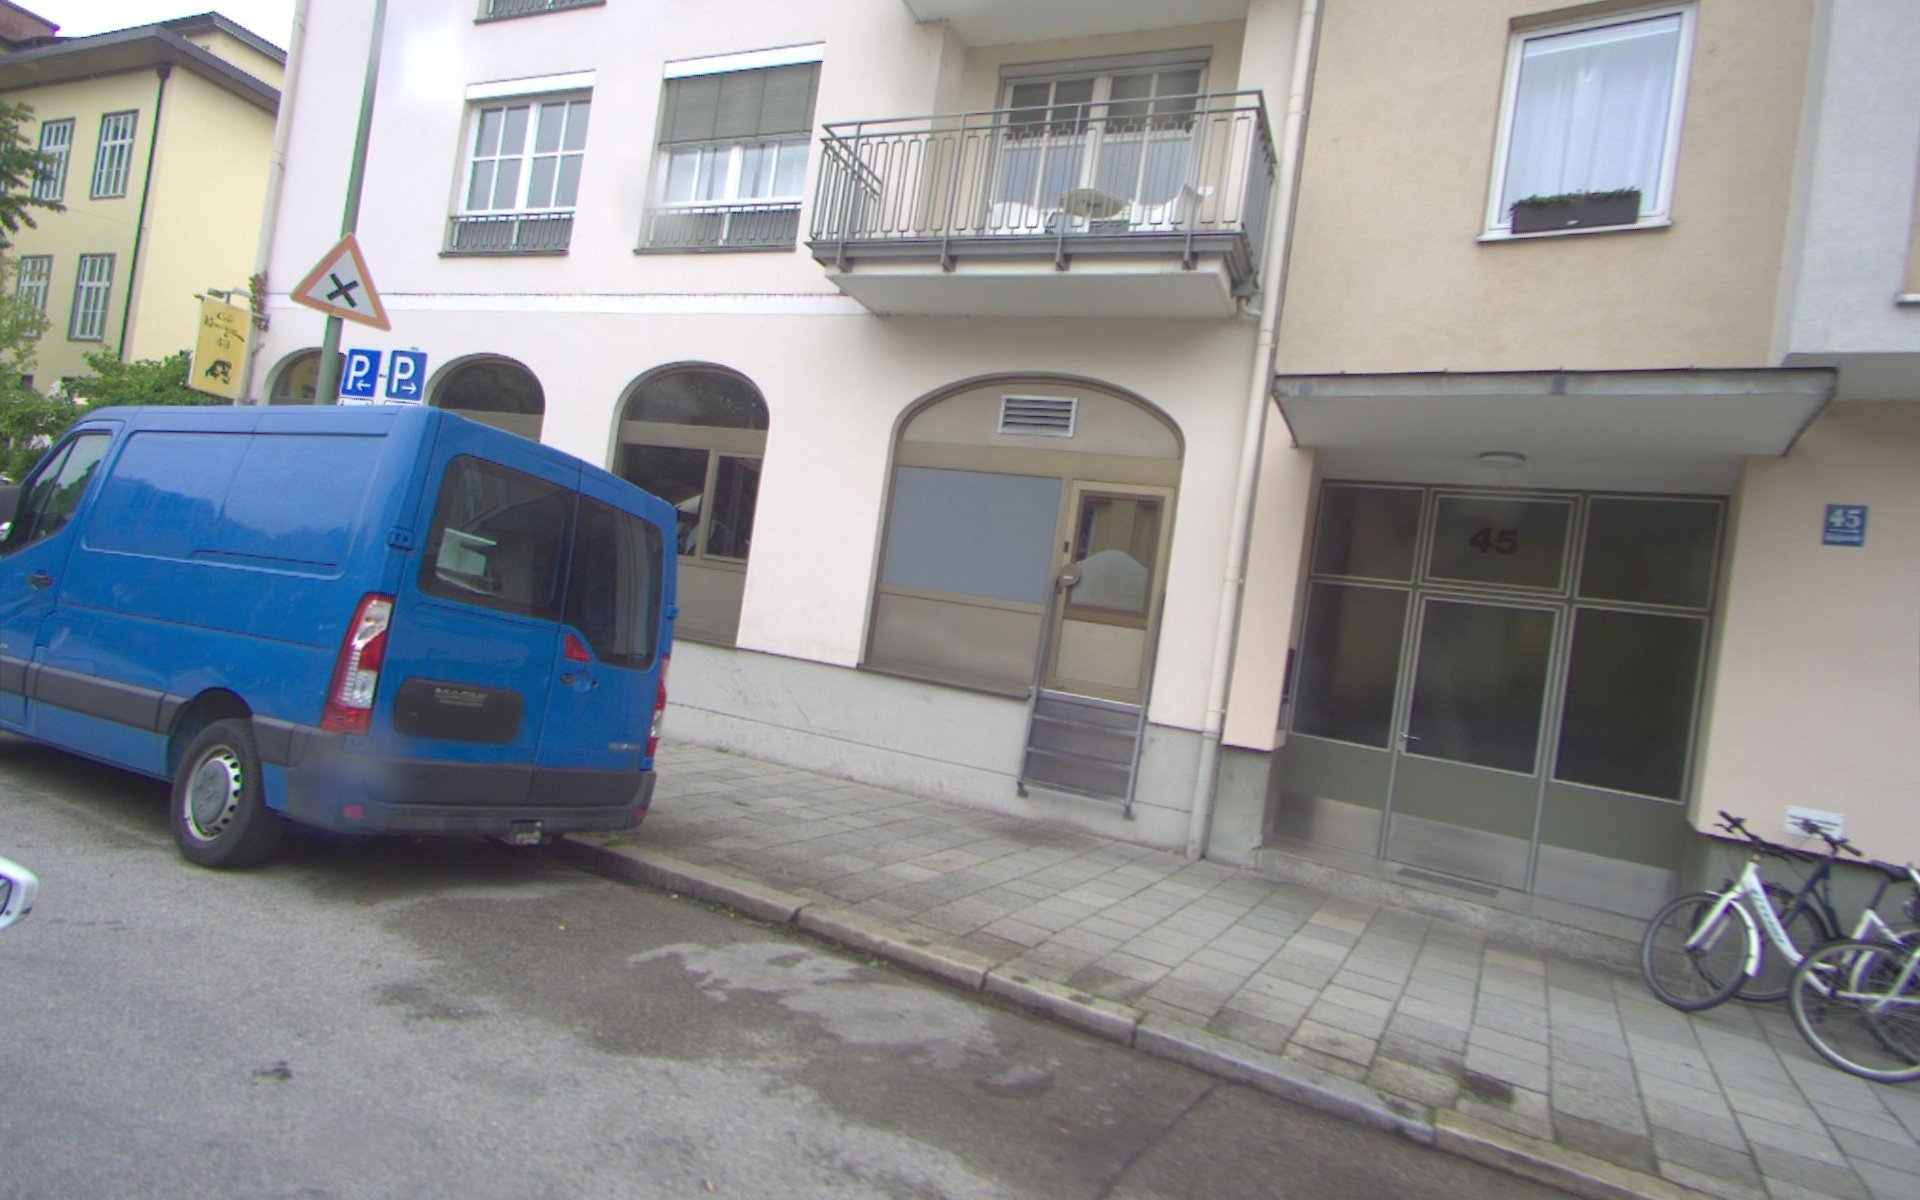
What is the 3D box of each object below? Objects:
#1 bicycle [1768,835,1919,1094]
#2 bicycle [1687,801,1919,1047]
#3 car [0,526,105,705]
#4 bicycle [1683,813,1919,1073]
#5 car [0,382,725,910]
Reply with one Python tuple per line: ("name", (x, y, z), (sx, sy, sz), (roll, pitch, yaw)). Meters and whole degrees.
("bicycle", (5.000, 1.901, 5.037), (1.323, 1.116, 0.391), (7, 2, 27))
("bicycle", (5.165, 1.891, 5.906), (1.325, 1.116, 0.369), (7, 3, 33))
("car", (-9.713, -0.161, 8.679), (3.926, 1.408, 1.724), (8, -4, 21))
("bicycle", (4.943, 1.906, 5.590), (1.365, 1.116, 0.369), (7, 3, 33))
("car", (-4.254, 0.123, 6.261), (4.940, 2.234, 2.120), (6, -6, 26))
